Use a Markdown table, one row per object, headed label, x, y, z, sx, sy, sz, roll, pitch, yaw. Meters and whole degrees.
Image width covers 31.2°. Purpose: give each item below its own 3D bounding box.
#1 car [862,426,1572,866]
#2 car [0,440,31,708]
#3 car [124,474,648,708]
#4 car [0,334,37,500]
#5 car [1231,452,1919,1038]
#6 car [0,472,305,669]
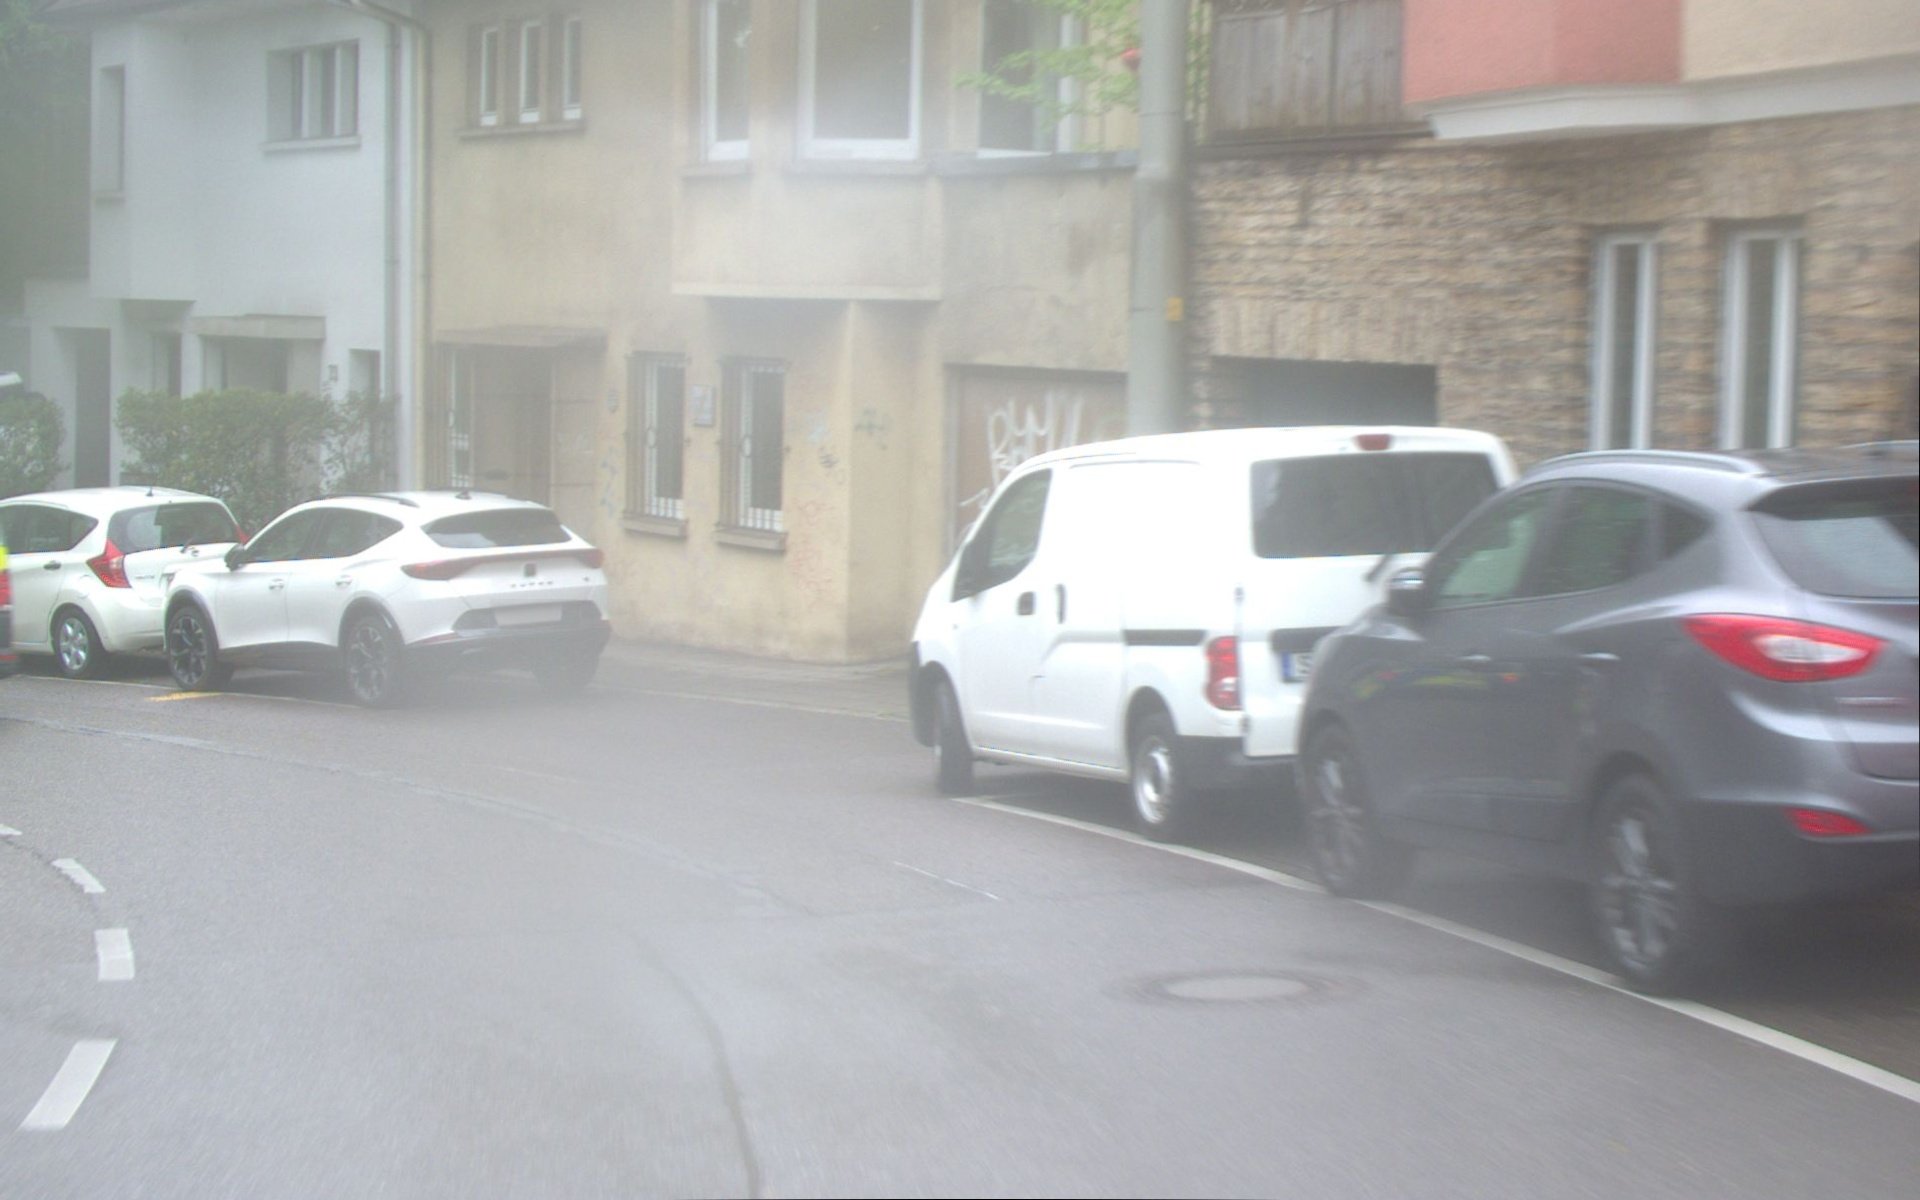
| label | x | y | z | sx | sy | sz | roll | pitch | yaw |
| --- | --- | --- | --- | --- | --- | --- | --- | --- | --- |
| car | 1.080 | 0.104 | 16.757 | 1.705 | 1.784 | 4.327 | -3 | 3 | -21 |
| car | -8.778 | -0.182 | 25.564 | 1.994 | 1.887 | 4.569 | 0 | 0 | -38 |
| car | -4.431 | -0.119 | 26.046 | 1.914 | 1.533 | 4.413 | -5 | 4 | -39 |
| car | -13.079 | -1.737 | 39.044 | 4.397 | 1.835 | 2.001 | -14 | 10 | -28 |
| car | 2.424 | 0.305 | 11.882 | 1.614 | 1.599 | 4.413 | -2 | 3 | -14 |
| car | -7.507 | -0.274 | 29.515 | 3.820 | 1.509 | 1.766 | 1 | 4 | 44 |
